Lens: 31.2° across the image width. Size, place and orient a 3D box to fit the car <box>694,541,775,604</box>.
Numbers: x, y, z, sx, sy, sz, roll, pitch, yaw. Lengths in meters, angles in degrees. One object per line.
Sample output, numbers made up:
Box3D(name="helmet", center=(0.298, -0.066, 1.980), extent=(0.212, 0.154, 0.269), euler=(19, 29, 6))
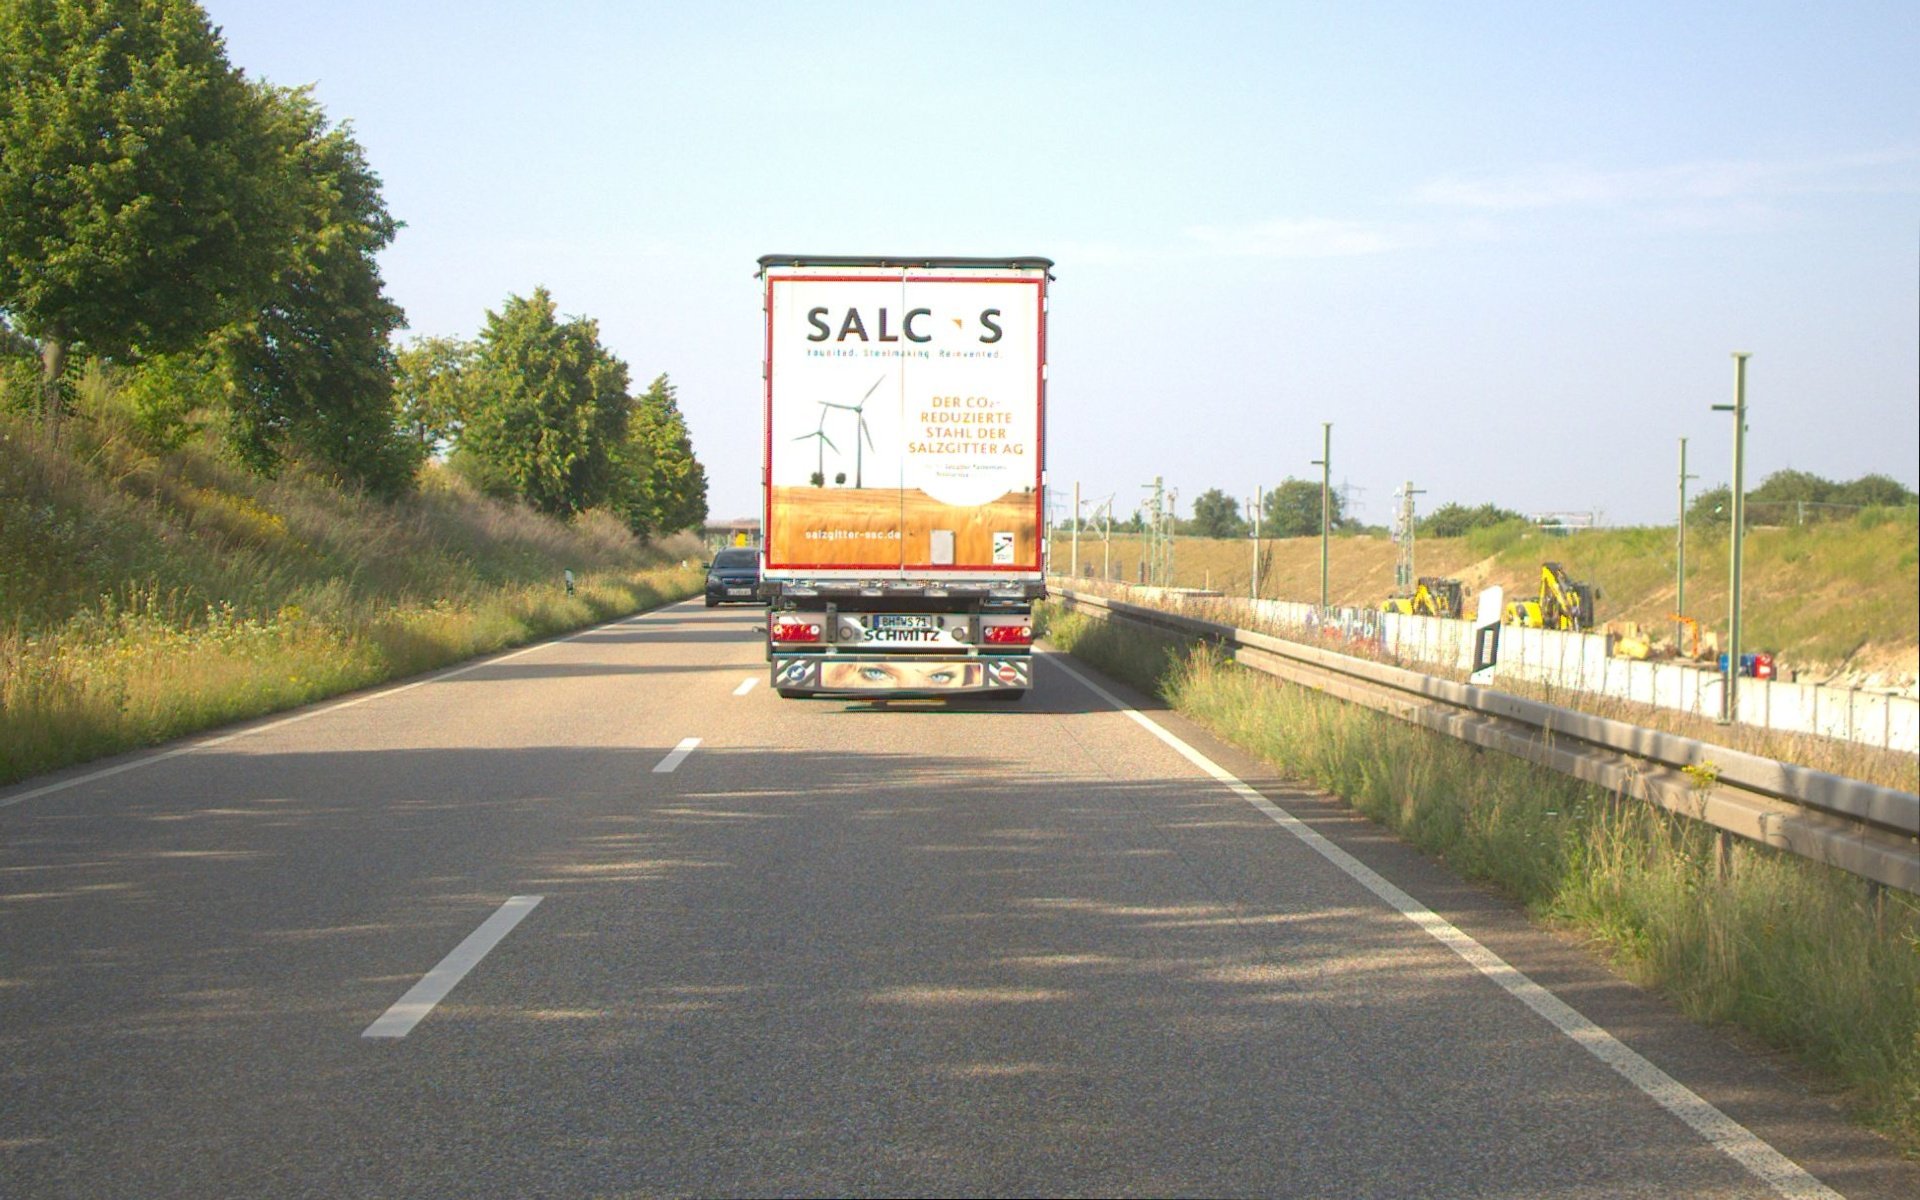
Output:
Box3D(name="car", center=(-5.666, -0.710, 86.800), extent=(1.743, 1.541, 4.312), euler=(0, 1, 0))

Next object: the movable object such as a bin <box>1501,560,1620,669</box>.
Box3D(name="movable object such as a bin", center=(22.435, 0.492, 128.774), extent=(2.796, 3.872, 7.539), euler=(1, 1, -2))

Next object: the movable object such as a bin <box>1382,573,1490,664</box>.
Box3D(name="movable object such as a bin", center=(17.911, 0.637, 129.878), extent=(2.621, 3.228, 8.074), euler=(1, 1, -2))

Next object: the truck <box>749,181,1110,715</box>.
Box3D(name="truck", center=(-0.349, -1.399, 34.499), extent=(3.153, 4.672, 8.442), euler=(0, 1, -1))
